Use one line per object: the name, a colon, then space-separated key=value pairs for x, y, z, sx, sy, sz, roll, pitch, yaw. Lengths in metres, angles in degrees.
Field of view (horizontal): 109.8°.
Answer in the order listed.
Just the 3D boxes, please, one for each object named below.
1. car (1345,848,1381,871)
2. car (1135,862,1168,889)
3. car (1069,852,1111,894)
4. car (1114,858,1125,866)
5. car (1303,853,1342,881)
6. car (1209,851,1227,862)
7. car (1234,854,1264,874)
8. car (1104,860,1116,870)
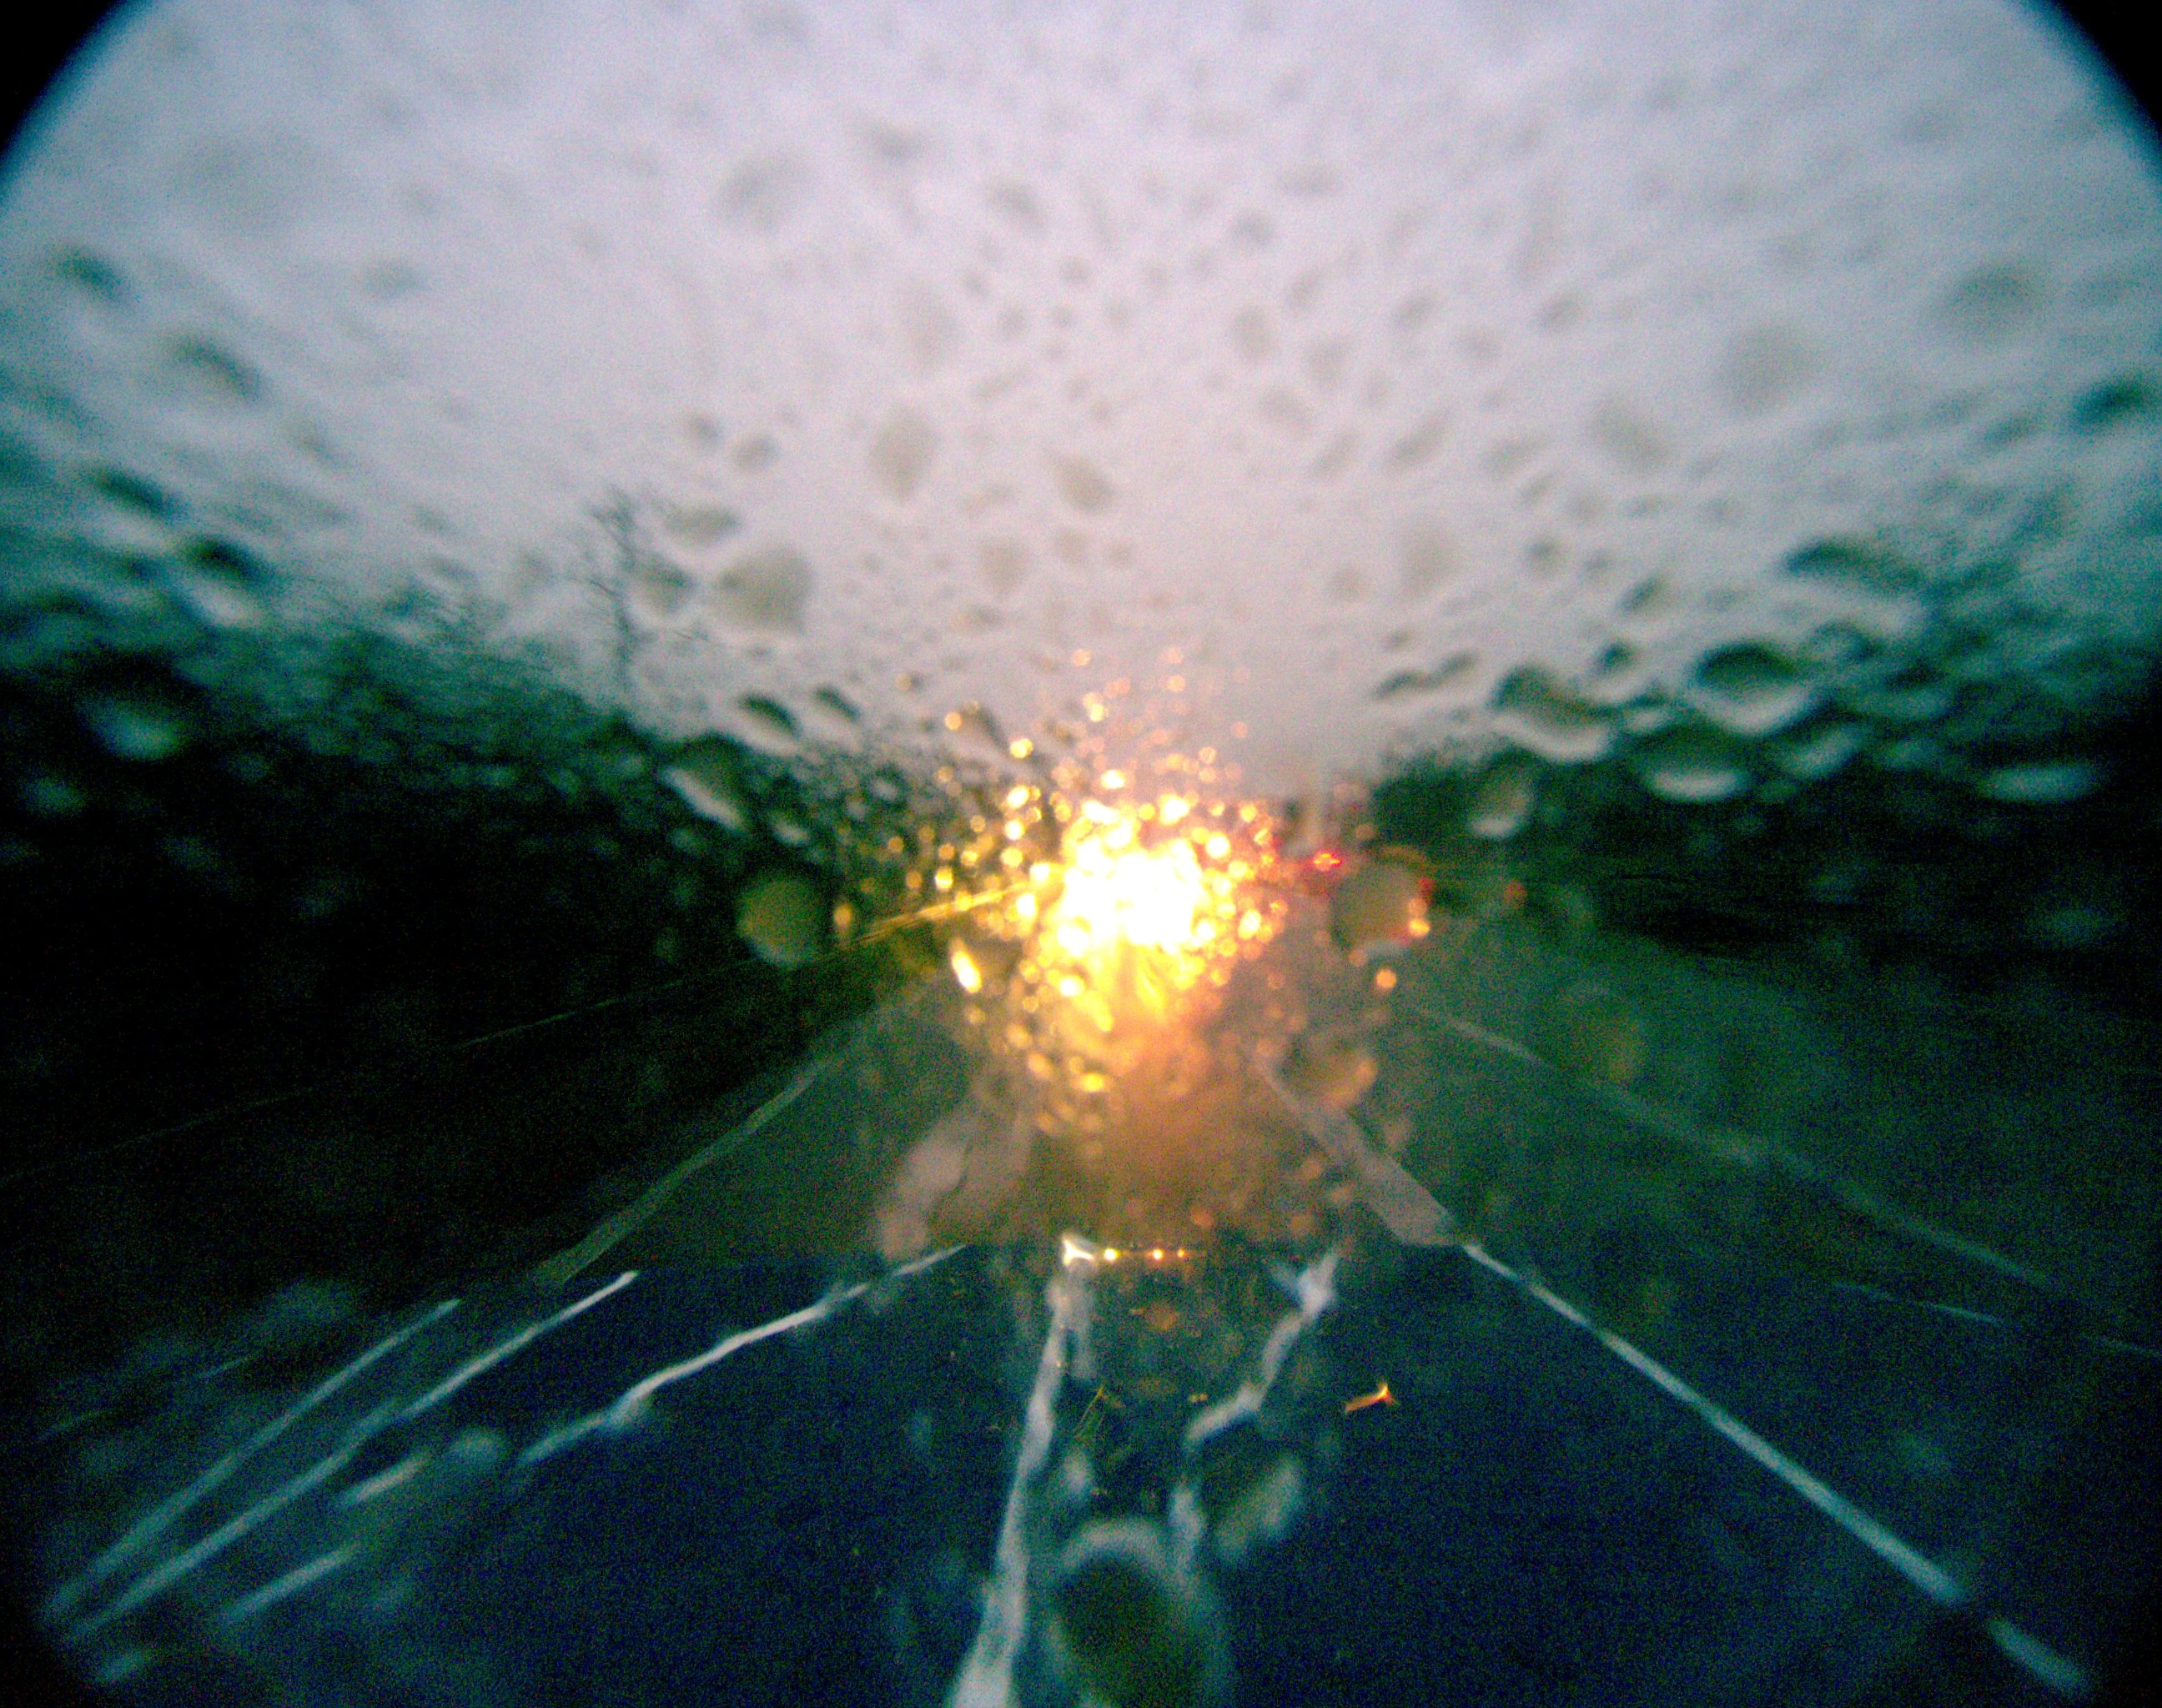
car: x=26.076 y=0.485 z=70.408 sx=1.998 sy=2.001 sz=4.001 roll=-1 pitch=-1 yaw=3
car: x=4.068 y=1.210 z=44.163 sx=1.654 sy=1.502 sz=3.875 roll=-1 pitch=-1 yaw=1
car: x=0.519 y=0.949 z=39.123 sx=1.998 sy=2.002 sz=3.964 roll=-1 pitch=0 yaw=2
car: x=6.494 y=1.335 z=127.822 sx=1.482 sy=1.198 sz=3.350 roll=-3 pitch=0 yaw=6
car: x=19.648 y=1.013 z=62.021 sx=1.998 sy=2.002 sz=3.999 roll=-3 pitch=1 yaw=3
car: x=18.651 y=0.298 z=103.191 sx=1.782 sy=1.368 sz=3.842 roll=-3 pitch=1 yaw=2
car: x=15.332 y=0.907 z=69.568 sx=1.879 sy=1.674 sz=4.382 roll=-1 pitch=-1 yaw=2
car: x=3.760 y=1.388 z=97.720 sx=1.482 sy=1.198 sz=3.350 roll=-3 pitch=0 yaw=3
